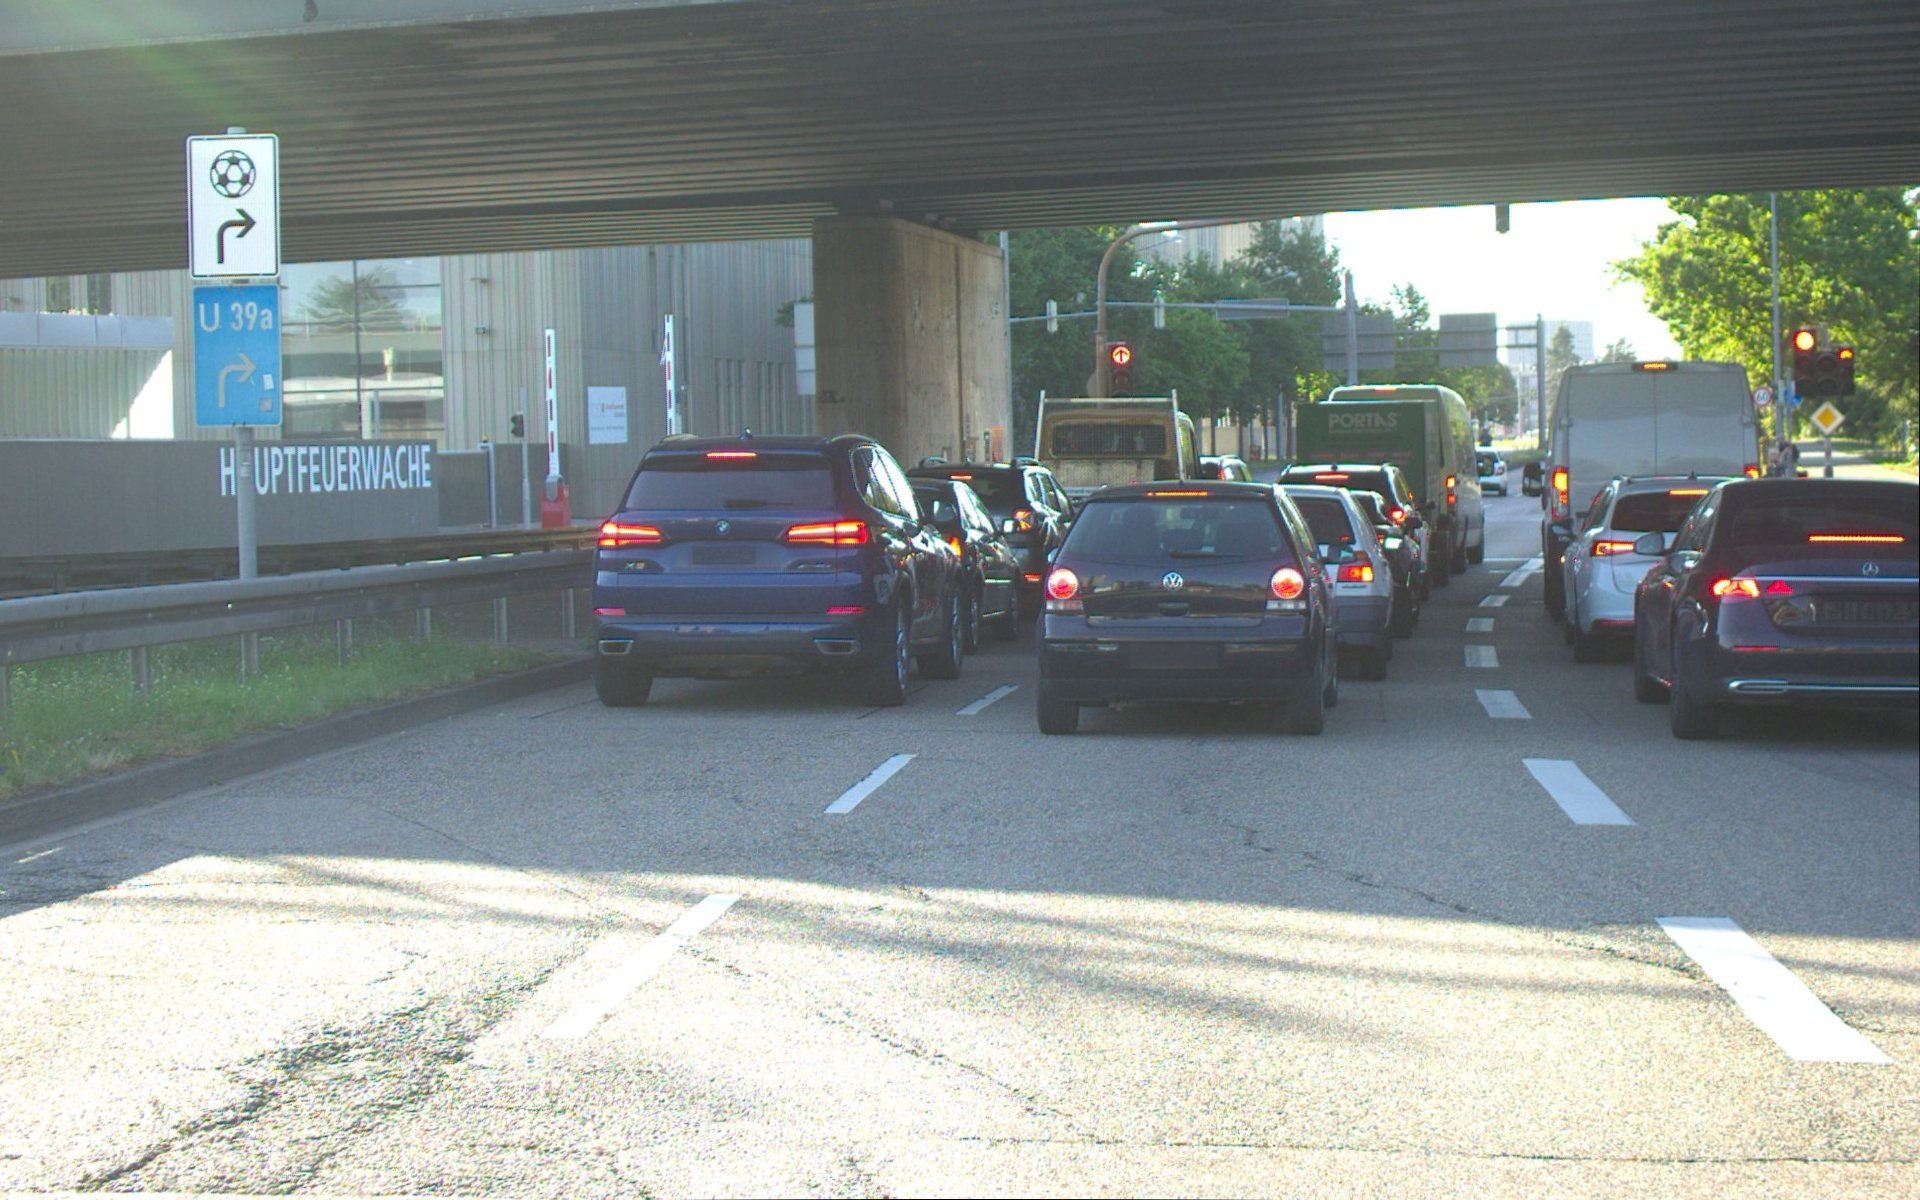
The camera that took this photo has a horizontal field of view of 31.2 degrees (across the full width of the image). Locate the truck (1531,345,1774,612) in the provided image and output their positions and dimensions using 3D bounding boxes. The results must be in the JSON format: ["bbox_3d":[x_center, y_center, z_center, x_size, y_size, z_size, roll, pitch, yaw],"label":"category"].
[{"bbox_3d":[7.062,-1.233,35.469,2.112,2.511,4.400,-2,1,8],"label":"truck"}]

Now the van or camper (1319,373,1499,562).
[{"bbox_3d":[6.594,-1.880,49.974,1.995,2.561,5.915,0,1,13],"label":"van or camper"}]

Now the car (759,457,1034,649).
[{"bbox_3d":[-0.479,-0.427,29.662,1.841,1.435,3.675,-4,1,6],"label":"car"}]

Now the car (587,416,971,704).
[{"bbox_3d":[-1.102,-0.292,23.193,1.830,1.732,4.460,-1,1,7],"label":"car"}]

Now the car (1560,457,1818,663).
[{"bbox_3d":[5.790,-0.345,27.658,1.773,1.490,3.831,-2,1,9],"label":"car"}]

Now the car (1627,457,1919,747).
[{"bbox_3d":[4.977,-0.080,20.152,1.741,1.449,4.605,0,3,7],"label":"car"}]

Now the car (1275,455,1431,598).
[{"bbox_3d":[4.487,-0.832,38.885,1.582,1.527,3.831,0,1,9],"label":"car"}]

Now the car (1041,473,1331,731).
[{"bbox_3d":[1.400,-0.029,20.696,1.582,1.404,3.831,0,1,5],"label":"car"}]

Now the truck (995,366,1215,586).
[{"bbox_3d":[1.893,-1.518,43.027,2.029,2.548,5.535,0,1,10],"label":"truck"}]

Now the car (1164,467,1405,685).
[{"bbox_3d":[2.481,-0.228,25.657,1.547,1.418,3.416,-4,2,8],"label":"car"}]

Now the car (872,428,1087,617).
[{"bbox_3d":[0.260,-0.800,35.343,1.841,1.713,4.000,-4,1,4],"label":"car"}]

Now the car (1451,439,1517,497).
[{"bbox_3d":[15.409,-3.866,101.013,1.801,1.599,3.998,-1,1,10],"label":"car"}]

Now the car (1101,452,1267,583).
[{"bbox_3d":[3.450,-1.257,52.281,1.994,1.894,3.998,-1,1,11],"label":"car"}]

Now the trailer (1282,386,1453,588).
[{"bbox_3d":[5.335,-1.450,44.636,1.865,2.456,3.830,-2,1,11],"label":"trailer"}]
